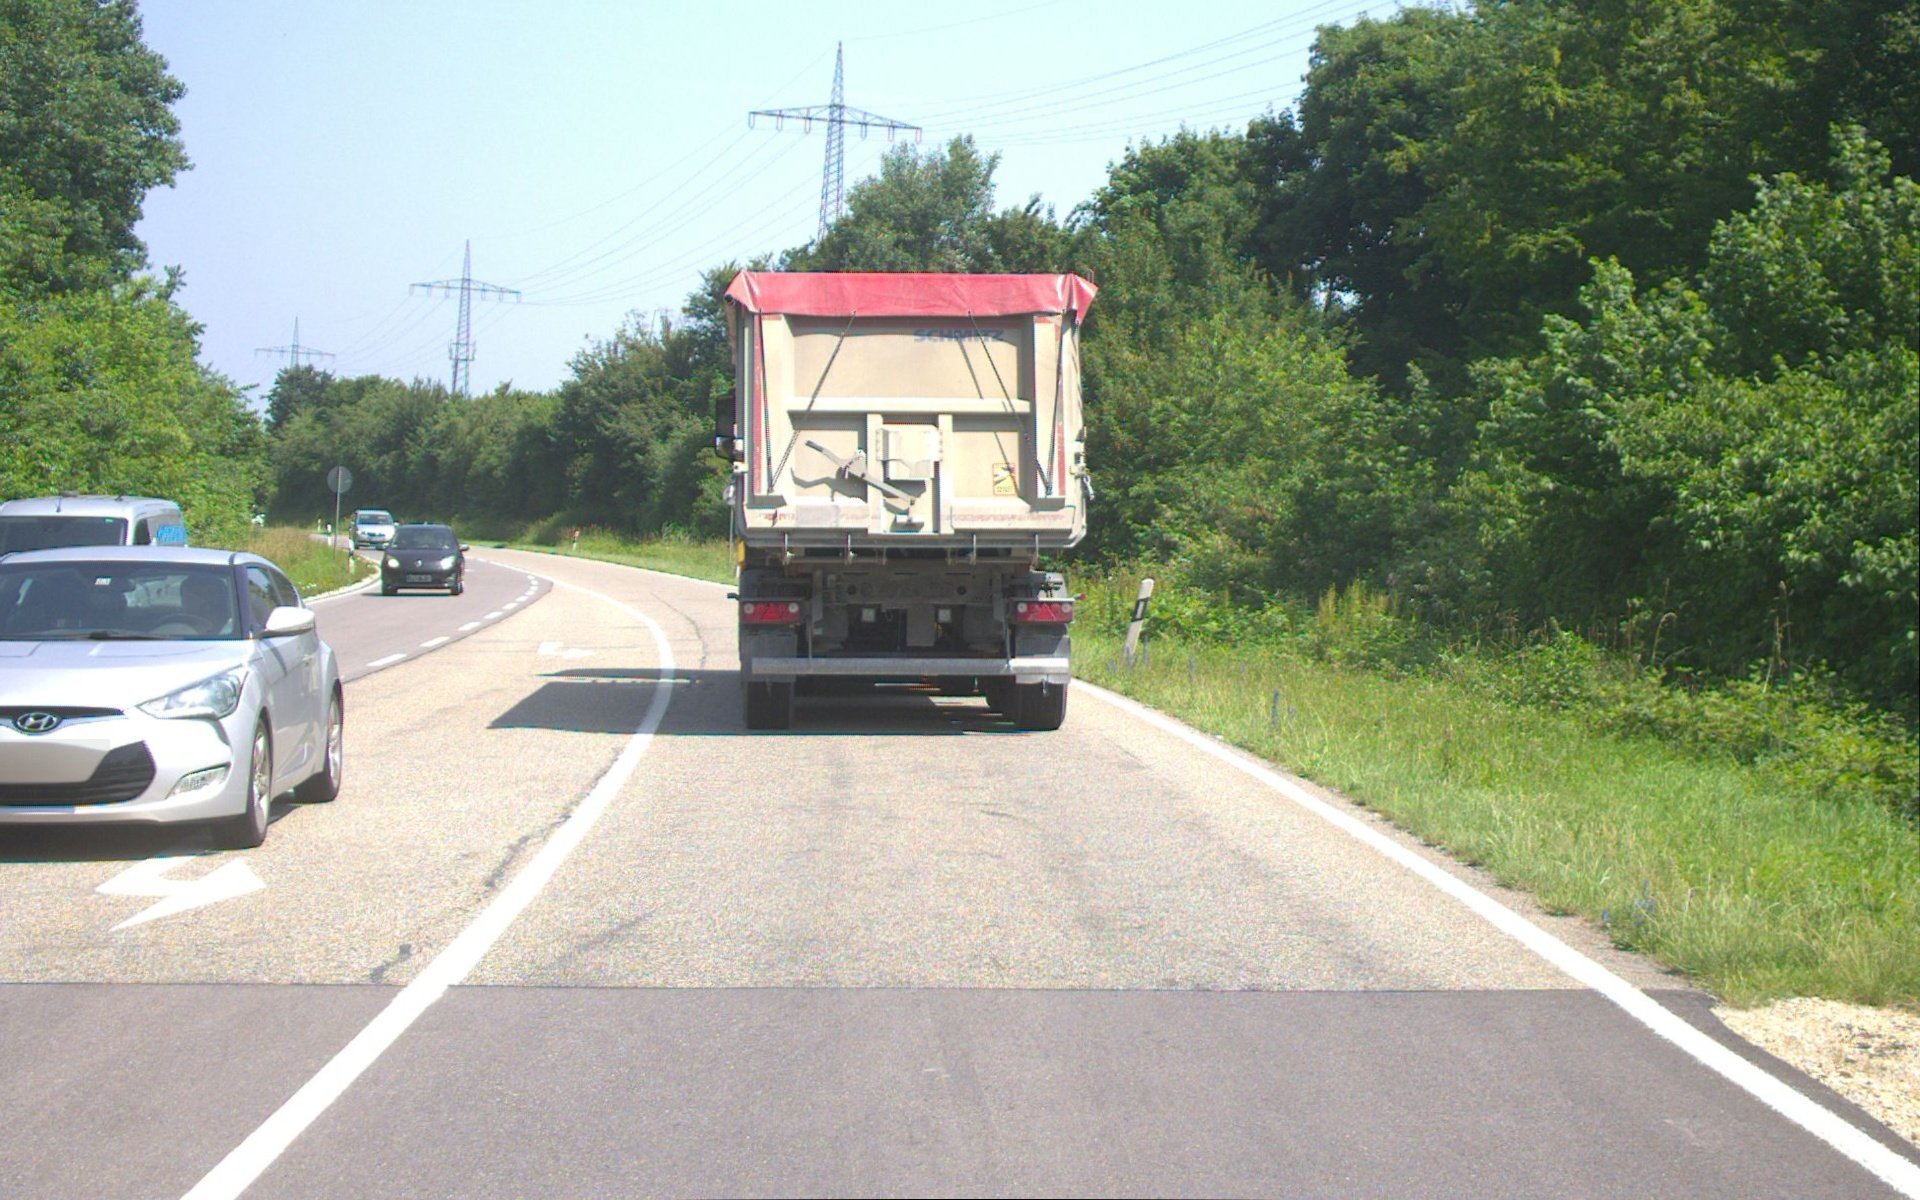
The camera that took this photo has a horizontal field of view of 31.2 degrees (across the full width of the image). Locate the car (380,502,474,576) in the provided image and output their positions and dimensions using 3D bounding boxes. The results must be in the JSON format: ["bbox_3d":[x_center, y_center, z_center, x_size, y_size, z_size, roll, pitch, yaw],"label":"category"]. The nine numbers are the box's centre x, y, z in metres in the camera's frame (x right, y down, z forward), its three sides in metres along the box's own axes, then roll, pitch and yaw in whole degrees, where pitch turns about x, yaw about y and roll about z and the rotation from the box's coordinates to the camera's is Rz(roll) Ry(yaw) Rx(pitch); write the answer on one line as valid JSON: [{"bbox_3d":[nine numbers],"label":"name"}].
[{"bbox_3d":[-11.164,-1.291,72.178,1.614,1.497,3.553,1,1,-3],"label":"car"}]

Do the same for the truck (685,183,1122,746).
[{"bbox_3d":[-0.870,-1.114,30.365,2.893,3.949,11.935,1,2,-5],"label":"truck"}]

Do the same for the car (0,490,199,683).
[{"bbox_3d":[-8.908,-0.194,34.228,1.842,1.773,4.894,1,2,-3],"label":"car"}]

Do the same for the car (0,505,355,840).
[{"bbox_3d":[-4.154,0.265,17.204,1.708,1.414,4.099,1,2,-3],"label":"car"}]
